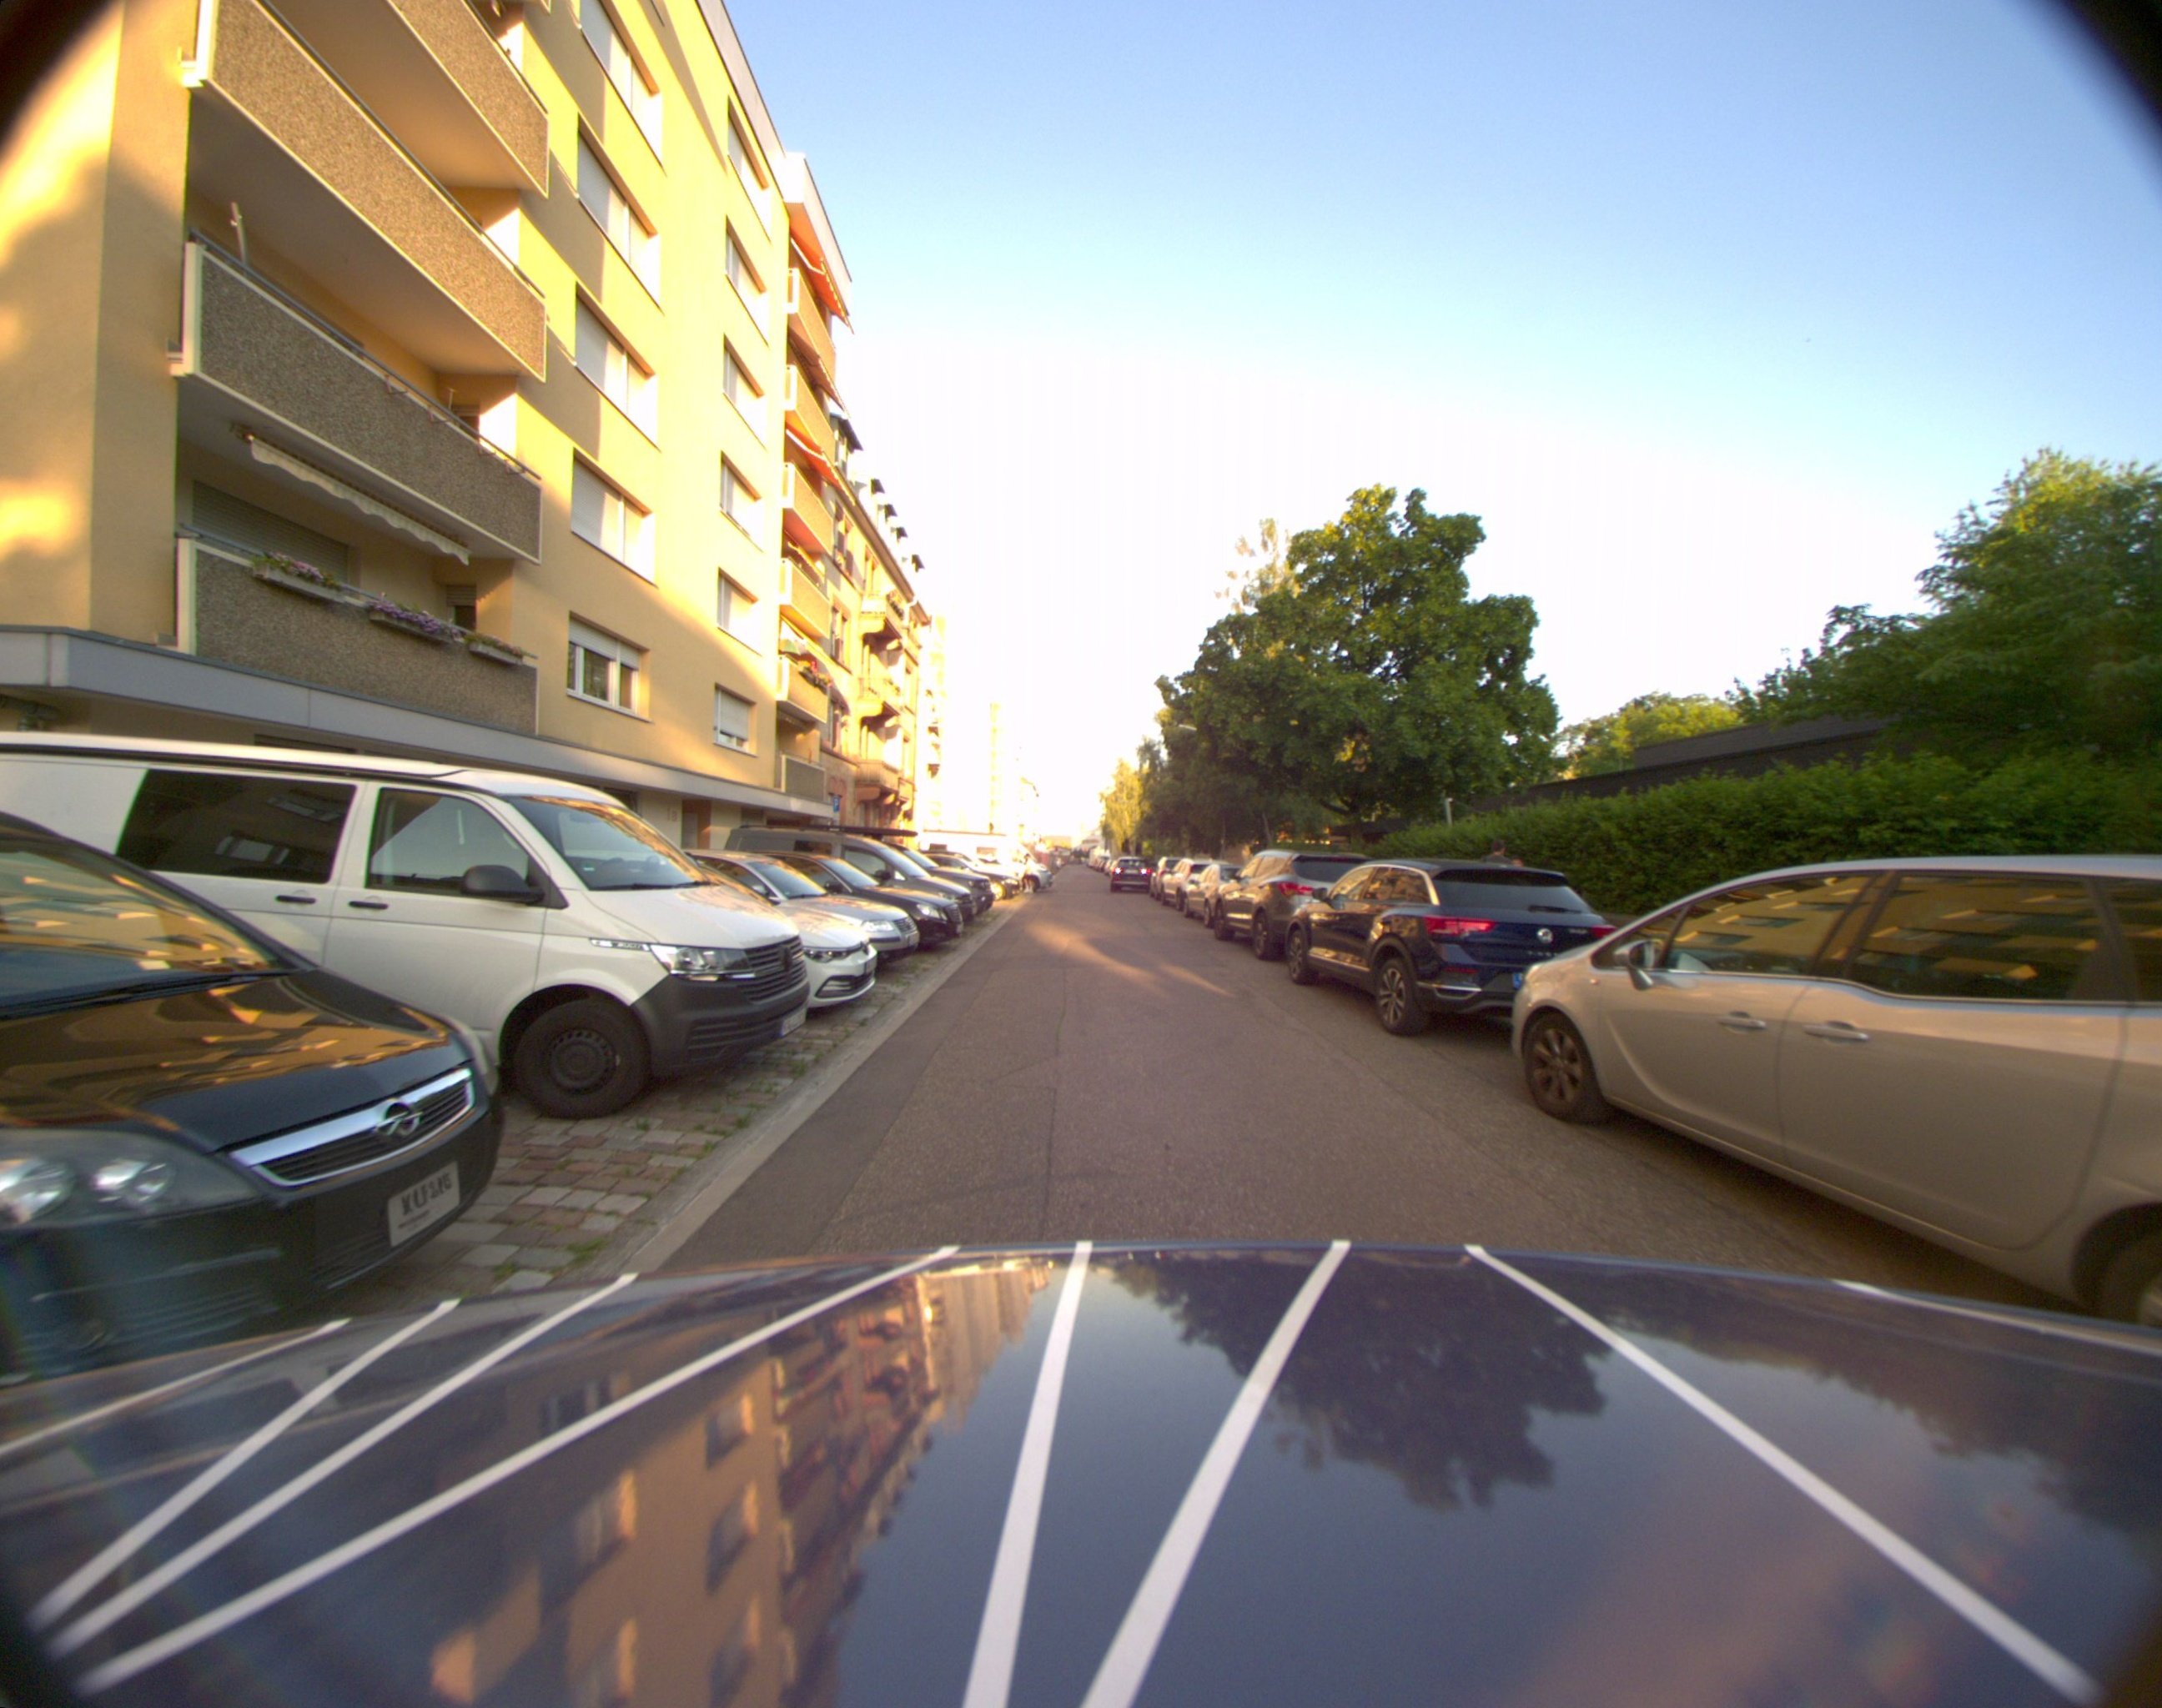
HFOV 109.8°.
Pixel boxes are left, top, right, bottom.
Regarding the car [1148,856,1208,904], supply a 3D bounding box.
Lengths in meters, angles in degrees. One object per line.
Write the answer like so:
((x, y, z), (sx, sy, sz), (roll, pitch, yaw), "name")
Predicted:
((3.565, 0.931, 28.537), (1.738, 1.621, 3.980), (2, 0, 0), "car")

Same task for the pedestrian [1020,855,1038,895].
((-2.239, 0.884, 32.675), (0.748, 1.693, 0.558), (-2, 1, -4), "pedestrian")

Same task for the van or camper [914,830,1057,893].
((-4.207, 0.318, 34.271), (6.075, 2.489, 2.050), (3, 0, 0), "van or camper")

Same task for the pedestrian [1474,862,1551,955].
((7.385, 0.906, 13.034), (0.750, 1.499, 0.901), (-2, 0, -2), "pedestrian")

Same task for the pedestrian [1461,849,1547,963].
((6.718, 0.804, 12.096), (0.901, 1.722, 0.750), (-2, 0, -2), "pedestrian")

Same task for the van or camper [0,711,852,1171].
((-4.451, 0.427, 4.996), (5.147, 2.155, 2.039), (4, 1, -2), "van or camper")

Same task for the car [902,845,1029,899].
((-4.318, 0.649, 28.883), (4.413, 1.739, 1.846), (2, 2, 4), "car")

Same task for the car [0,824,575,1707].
((-4.327, 0.735, 2.265), (4.338, 1.652, 1.780), (4, 2, -3), "car")

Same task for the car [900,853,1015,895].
((-5.030, 0.797, 31.412), (4.414, 1.610, 1.845), (0, 2, 1), "car")

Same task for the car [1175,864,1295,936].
((3.530, 1.008, 18.231), (1.738, 1.418, 4.286), (2, 0, -3), "car")

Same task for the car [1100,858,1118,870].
((3.238, 1.168, 89.052), (1.738, 1.358, 4.291), (2, 0, -1), "car")

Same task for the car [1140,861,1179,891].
((4.071, 1.131, 39.626), (1.624, 1.417, 3.415), (2, 0, 0), "car")

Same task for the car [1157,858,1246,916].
((3.552, 0.933, 23.160), (1.764, 1.534, 4.279), (2, 0, -3), "car")

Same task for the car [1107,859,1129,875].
((3.407, 1.216, 70.743), (1.738, 1.358, 4.291), (2, 0, -1), "car")

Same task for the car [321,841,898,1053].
((-4.230, 0.781, 7.378), (4.415, 1.622, 1.845), (2, 2, -1), "car")

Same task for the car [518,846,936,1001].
((-4.253, 0.794, 9.666), (4.415, 1.584, 1.845), (2, 2, -1), "car")

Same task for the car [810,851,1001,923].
((-4.420, 0.796, 19.609), (4.414, 1.545, 1.845), (2, 2, 2), "car")

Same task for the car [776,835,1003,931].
((-4.116, 0.614, 16.923), (4.524, 1.852, 1.845), (2, 0, -1), "car")

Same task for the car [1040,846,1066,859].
((-4.369, -0.219, 120.133), (3.997, 2.002, 2.000), (0, 0, -1), "car")

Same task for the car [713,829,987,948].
((-4.263, 0.600, 14.570), (4.649, 1.970, 1.845), (2, 2, -1), "car")

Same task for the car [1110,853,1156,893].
((2.423, 0.844, 34.811), (1.736, 1.621, 4.129), (2, 0, 8), "car")

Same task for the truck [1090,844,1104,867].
((2.587, 0.245, 127.141), (2.183, 3.860, 4.926), (0, 0, 0), "truck")

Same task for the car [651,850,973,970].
((-4.066, 0.816, 12.052), (4.415, 1.554, 1.845), (2, 2, -1), "car")

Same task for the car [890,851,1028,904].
((-4.131, 0.774, 26.315), (4.414, 1.545, 1.845), (2, 2, 0), "car")

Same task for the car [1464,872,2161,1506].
((3.590, 0.923, 3.115), (1.738, 1.558, 4.128), (2, 0, -3), "car")

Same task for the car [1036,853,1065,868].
((-4.281, 0.927, 105.932), (3.997, 2.002, 2.000), (0, 0, -1), "car")

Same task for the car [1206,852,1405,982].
((3.438, 0.878, 12.564), (1.738, 1.720, 4.322), (2, 0, -3), "car")

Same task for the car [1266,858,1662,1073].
((3.404, 0.857, 7.803), (1.738, 1.558, 4.166), (2, 0, -3), "car")

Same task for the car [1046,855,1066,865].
((-4.920, 1.201, 149.405), (3.997, 2.002, 2.000), (0, 0, -1), "car")

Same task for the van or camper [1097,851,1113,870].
((3.185, 0.805, 100.417), (1.825, 2.400, 4.291), (2, 0, -1), "van or camper")

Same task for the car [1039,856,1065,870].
((-4.411, 1.370, 116.857), (3.997, 2.002, 2.000), (0, 0, -1), "car")

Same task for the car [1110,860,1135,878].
((3.365, 1.213, 62.374), (1.738, 1.358, 3.804), (2, 0, -1), "car")
